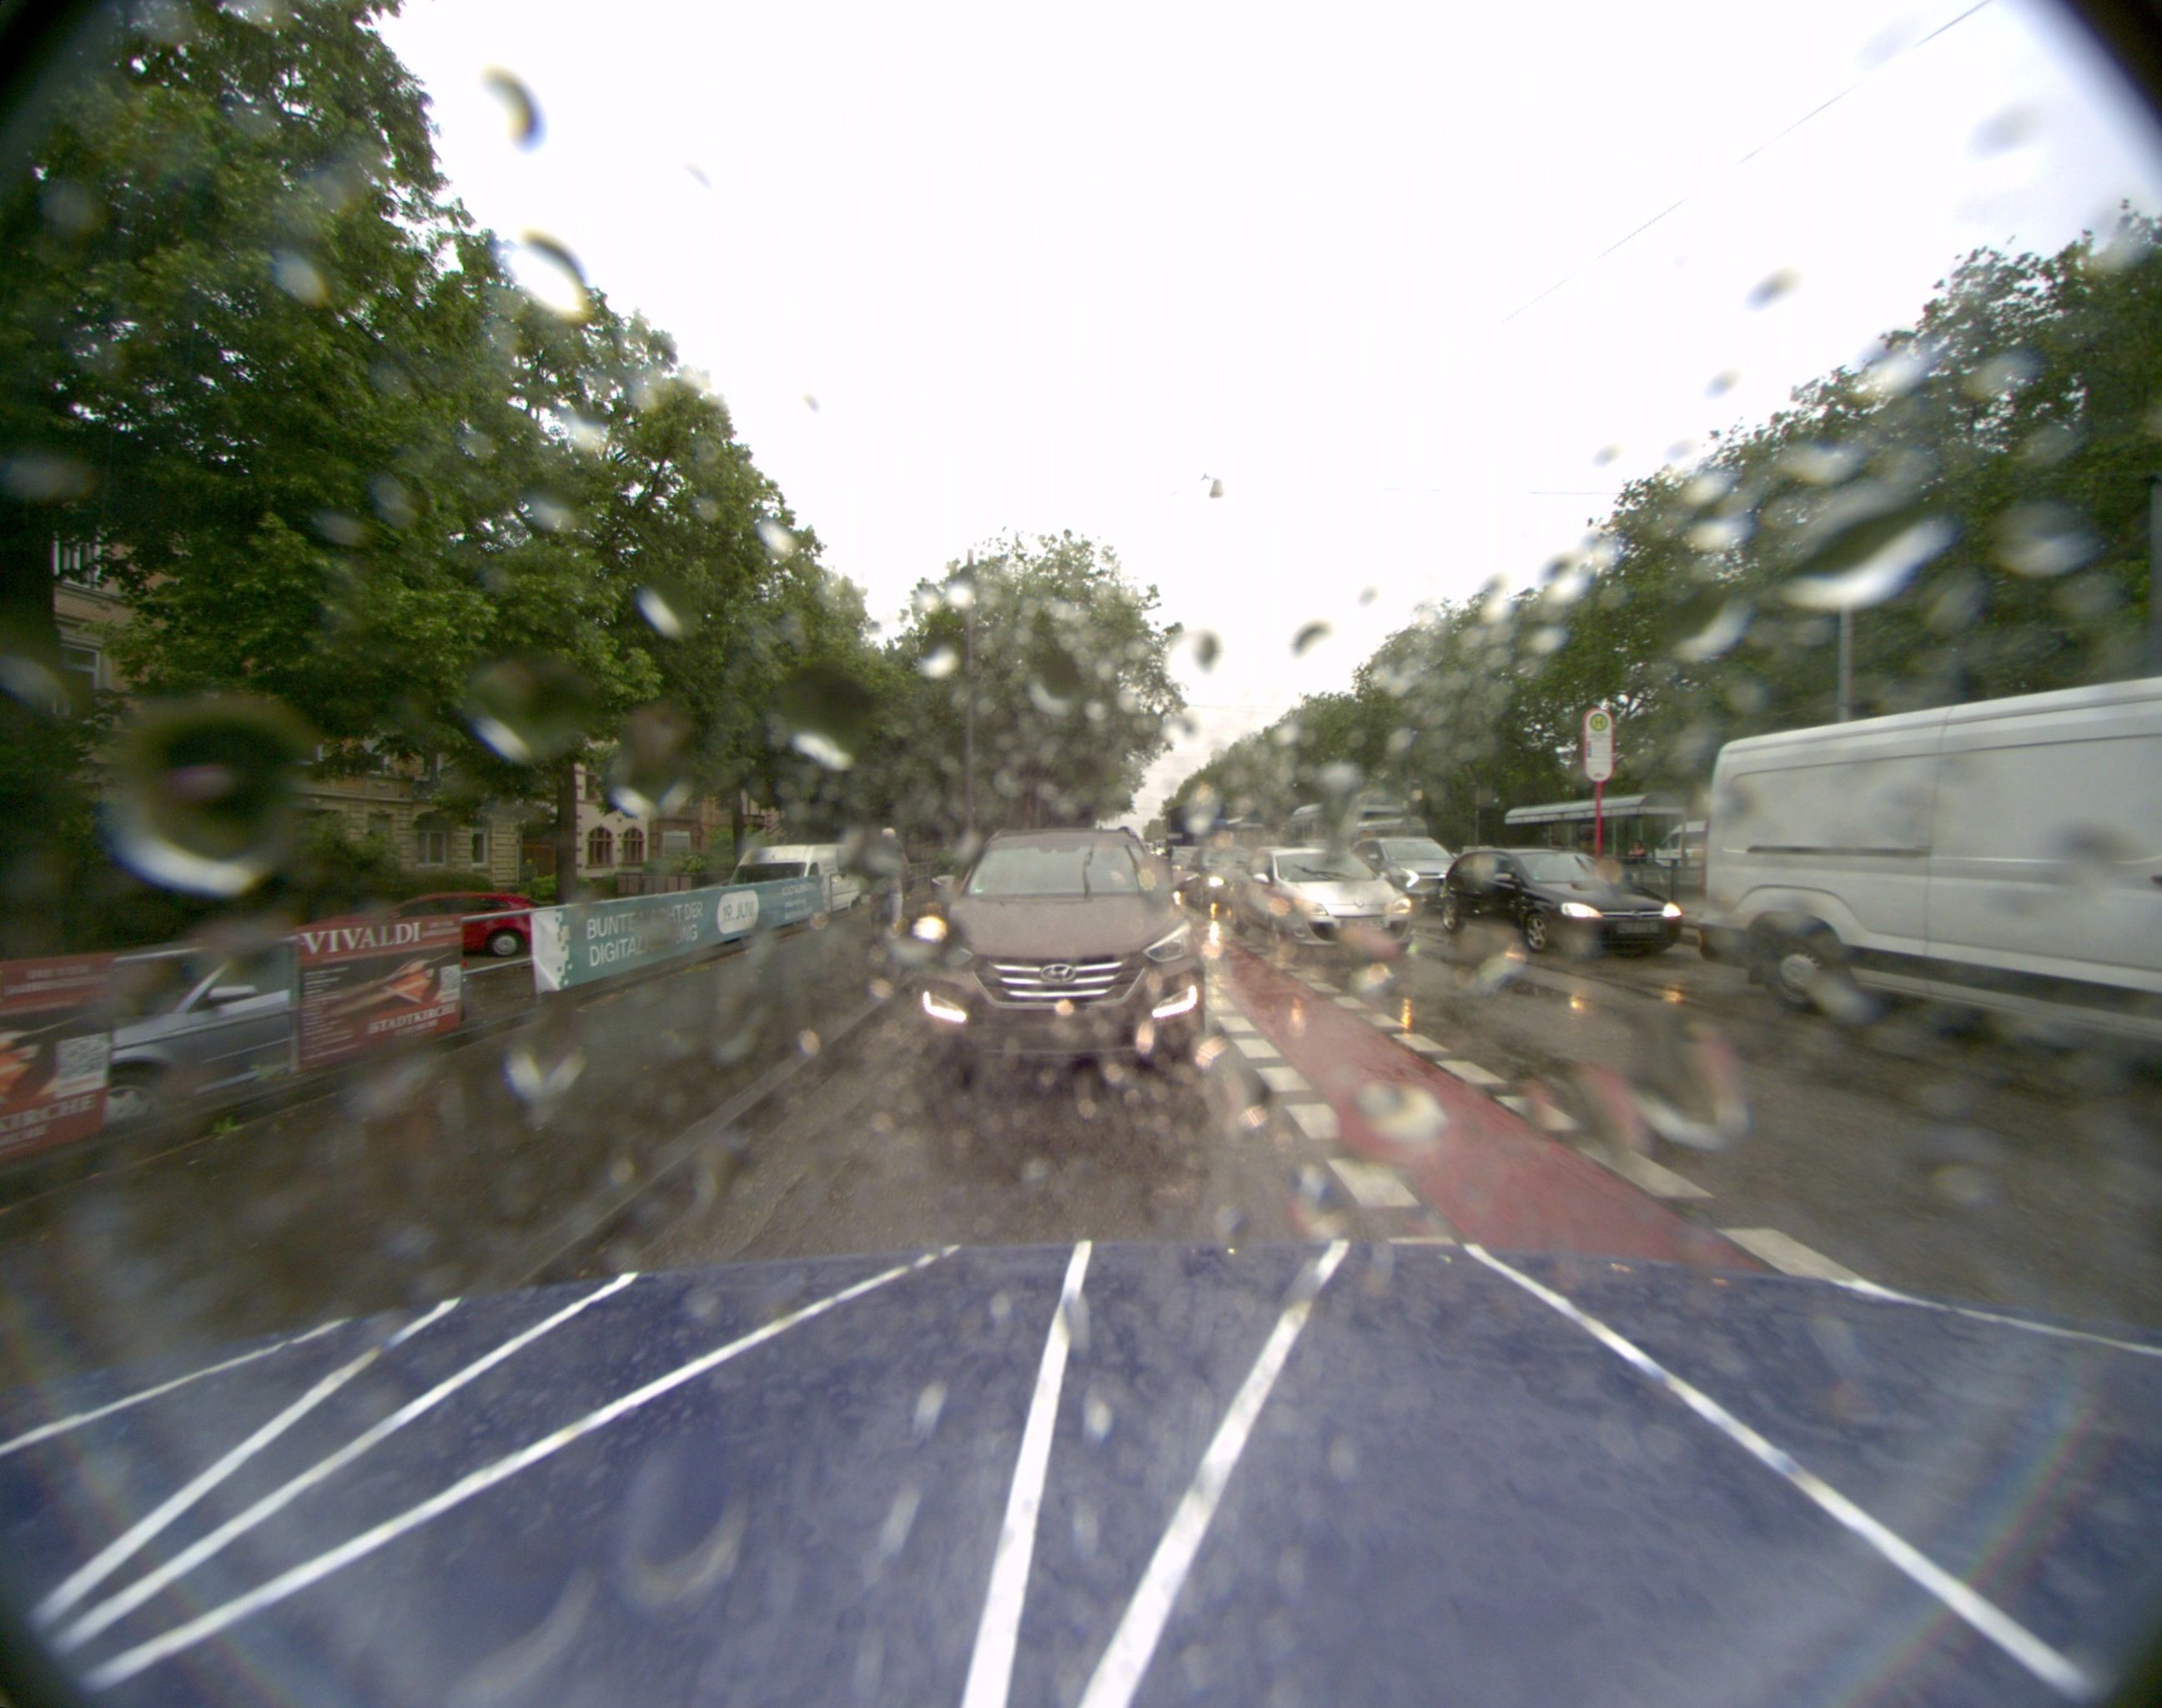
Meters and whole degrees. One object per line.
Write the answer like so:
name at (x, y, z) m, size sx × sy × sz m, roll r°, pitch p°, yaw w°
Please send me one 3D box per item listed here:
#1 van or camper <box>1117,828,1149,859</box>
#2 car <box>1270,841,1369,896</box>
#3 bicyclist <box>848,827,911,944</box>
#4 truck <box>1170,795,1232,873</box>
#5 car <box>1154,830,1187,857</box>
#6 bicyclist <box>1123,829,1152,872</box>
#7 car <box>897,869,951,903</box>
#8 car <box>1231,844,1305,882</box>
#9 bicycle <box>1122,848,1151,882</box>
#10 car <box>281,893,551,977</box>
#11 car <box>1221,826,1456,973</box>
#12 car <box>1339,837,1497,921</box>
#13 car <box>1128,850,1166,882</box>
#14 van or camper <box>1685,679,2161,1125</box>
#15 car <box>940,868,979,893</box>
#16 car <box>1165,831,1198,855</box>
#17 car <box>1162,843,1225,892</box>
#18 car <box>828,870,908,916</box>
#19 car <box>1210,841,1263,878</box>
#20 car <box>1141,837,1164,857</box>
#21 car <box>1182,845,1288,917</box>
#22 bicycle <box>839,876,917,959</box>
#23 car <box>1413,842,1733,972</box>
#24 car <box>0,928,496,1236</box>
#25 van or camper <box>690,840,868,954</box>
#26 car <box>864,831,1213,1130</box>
van or camper at (4.311, -0.835, 63.972) m, size 2.144 × 2.484 × 5.712 m, roll -1°, pitch 0°, yaw -1°
car at (7.782, 0.454, 25.204) m, size 1.913 × 1.637 × 4.190 m, roll -1°, pitch 0°, yaw 0°
bicyclist at (-2.943, 0.443, 11.163) m, size 0.738 × 1.646 × 0.877 m, roll 0°, pitch 0°, yaw -4°
truck at (7.129, -1.126, 46.190) m, size 2.417 × 4.252 × 8.353 m, roll -1°, pitch 0°, yaw 1°
car at (7.730, -0.948, 65.941) m, size 2.344 × 2.138 × 5.453 m, roll -2°, pitch 2°, yaw 2°
bicyclist at (1.990, -0.117, 26.808) m, size 0.927 × 1.462 × 0.805 m, roll -2°, pitch 2°, yaw 0°
car at (-7.536, 1.506, 36.874) m, size 1.704 × 1.363 × 4.000 m, roll -2°, pitch 1°, yaw 1°
car at (7.455, 0.338, 30.707) m, size 1.913 × 1.399 × 4.190 m, roll -1°, pitch 0°, yaw 0°
bicycle at (1.953, 0.365, 26.908) m, size 0.819 × 1.082 × 1.997 m, roll -2°, pitch 2°, yaw -1°
car at (-14.595, 1.711, 17.041) m, size 4.294 × 1.461 × 1.705 m, roll -1°, pitch 0°, yaw -31°
car at (3.508, 0.557, 11.320) m, size 1.975 × 1.731 × 4.267 m, roll -1°, pitch 0°, yaw -1°
car at (7.400, 0.494, 17.197) m, size 1.847 × 1.625 × 4.248 m, roll -1°, pitch 0°, yaw 3°
car at (3.993, 0.717, 46.753) m, size 1.998 × 1.737 × 3.999 m, roll -2°, pitch 2°, yaw 1°
van or camper at (7.039, 0.250, 4.470) m, size 2.181 × 2.456 × 5.970 m, roll -1°, pitch 0°, yaw 0°
car at (-7.806, 1.656, 48.998) m, size 1.808 × 1.446 × 4.000 m, roll -1°, pitch 0°, yaw 1°
car at (7.657, -0.840, 58.349) m, size 1.998 × 1.706 × 3.999 m, roll -2°, pitch 2°, yaw 1°
car at (4.118, 0.472, 28.468) m, size 1.912 × 1.637 × 4.191 m, roll -1°, pitch 0°, yaw 3°
car at (-7.650, 1.348, 27.690) m, size 1.630 × 1.341 × 4.215 m, roll -1°, pitch 1°, yaw 1°
car at (7.446, 0.238, 36.761) m, size 1.912 × 1.637 × 4.192 m, roll -1°, pitch 0°, yaw 3°
car at (7.454, -0.665, 79.567) m, size 1.998 × 2.002 × 4.000 m, roll -1°, pitch 0°, yaw 1°
car at (3.717, 0.597, 19.159) m, size 1.912 × 1.540 × 4.667 m, roll -1°, pitch 0°, yaw 3°
bicycle at (-2.924, 0.877, 11.111) m, size 0.740 × 1.066 × 1.866 m, roll 0°, pitch 0°, yaw -4°
car at (6.829, 0.635, 11.285) m, size 1.786 × 1.504 × 4.556 m, roll -1°, pitch 0°, yaw 0°
car at (-7.211, 1.538, 6.066) m, size 1.731 × 1.461 × 4.216 m, roll -1°, pitch 0°, yaw 1°
van or camper at (-7.802, 0.994, 20.518) m, size 2.332 × 2.576 × 6.097 m, roll -1°, pitch 0°, yaw 0°
car at (-0.131, 0.715, 6.569) m, size 1.912 × 1.637 × 4.681 m, roll -1°, pitch 0°, yaw 3°
